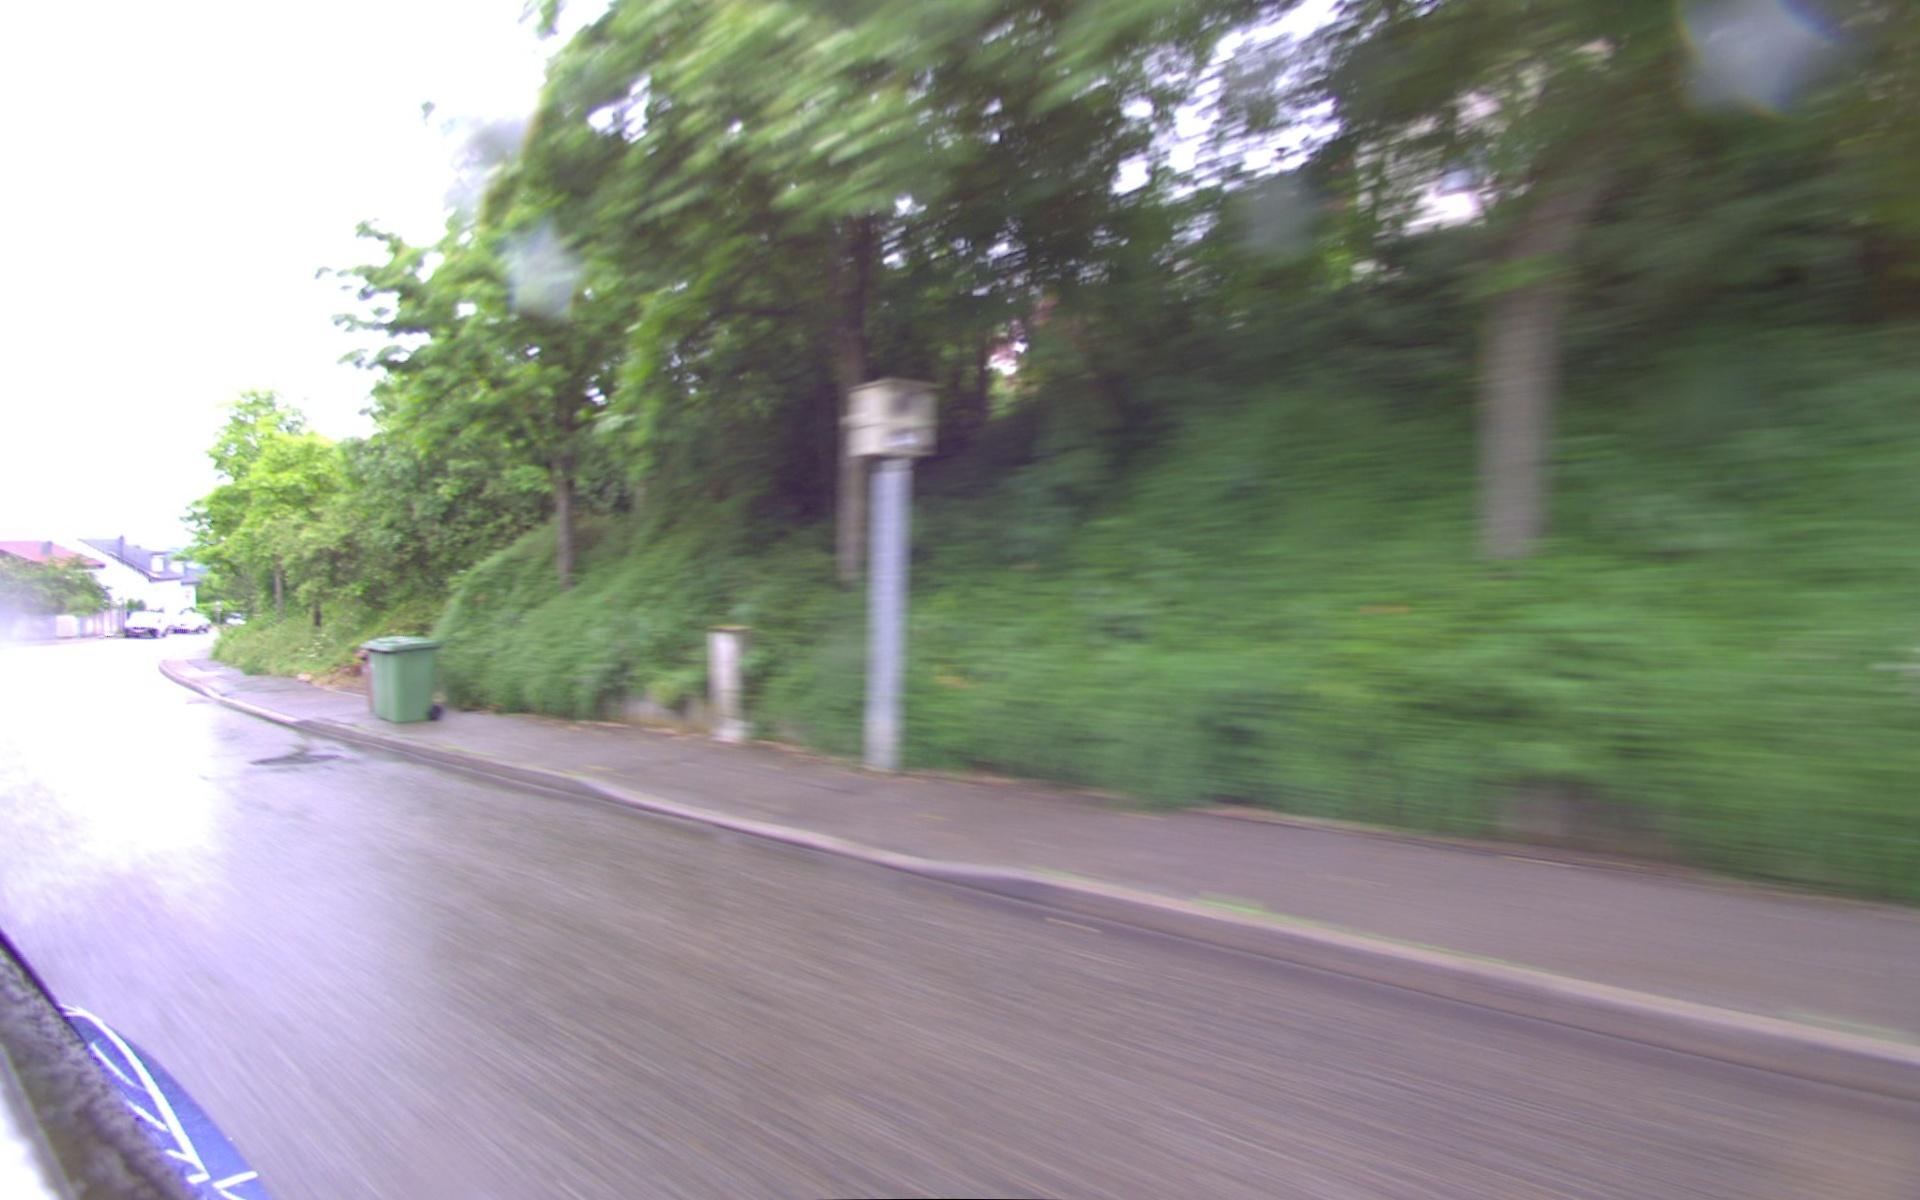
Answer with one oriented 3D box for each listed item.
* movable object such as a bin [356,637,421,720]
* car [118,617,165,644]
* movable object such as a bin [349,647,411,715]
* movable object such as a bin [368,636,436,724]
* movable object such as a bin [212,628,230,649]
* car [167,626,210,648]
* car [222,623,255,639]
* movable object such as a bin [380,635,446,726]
[{"bbox_3d":[-7.931,1.071,14.049,0.640,1.089,0.673,1,-2,-45],"label":"movable object such as a bin"},{"bbox_3d":[-58.772,2.156,72.739,1.754,1.817,4.722,2,-1,-29],"label":"car"},{"bbox_3d":[-8.409,1.157,14.672,0.640,0.918,0.673,1,-2,-45],"label":"movable object such as a bin"},{"bbox_3d":[-7.458,1.047,13.531,0.640,1.112,0.673,1,-2,-45],"label":"movable object such as a bin"},{"bbox_3d":[-40.619,2.125,55.638,0.684,1.099,0.805,-1,-4,-28],"label":"movable object such as a bin"},{"bbox_3d":[-64.404,3.071,84.565,1.779,1.639,4.302,4,-2,-23],"label":"car"},{"bbox_3d":[-70.283,3.001,98.646,1.636,1.478,3.775,4,-2,-21],"label":"car"},{"bbox_3d":[-7.064,1.019,13.067,0.640,1.124,0.505,1,-2,-45],"label":"movable object such as a bin"}]
